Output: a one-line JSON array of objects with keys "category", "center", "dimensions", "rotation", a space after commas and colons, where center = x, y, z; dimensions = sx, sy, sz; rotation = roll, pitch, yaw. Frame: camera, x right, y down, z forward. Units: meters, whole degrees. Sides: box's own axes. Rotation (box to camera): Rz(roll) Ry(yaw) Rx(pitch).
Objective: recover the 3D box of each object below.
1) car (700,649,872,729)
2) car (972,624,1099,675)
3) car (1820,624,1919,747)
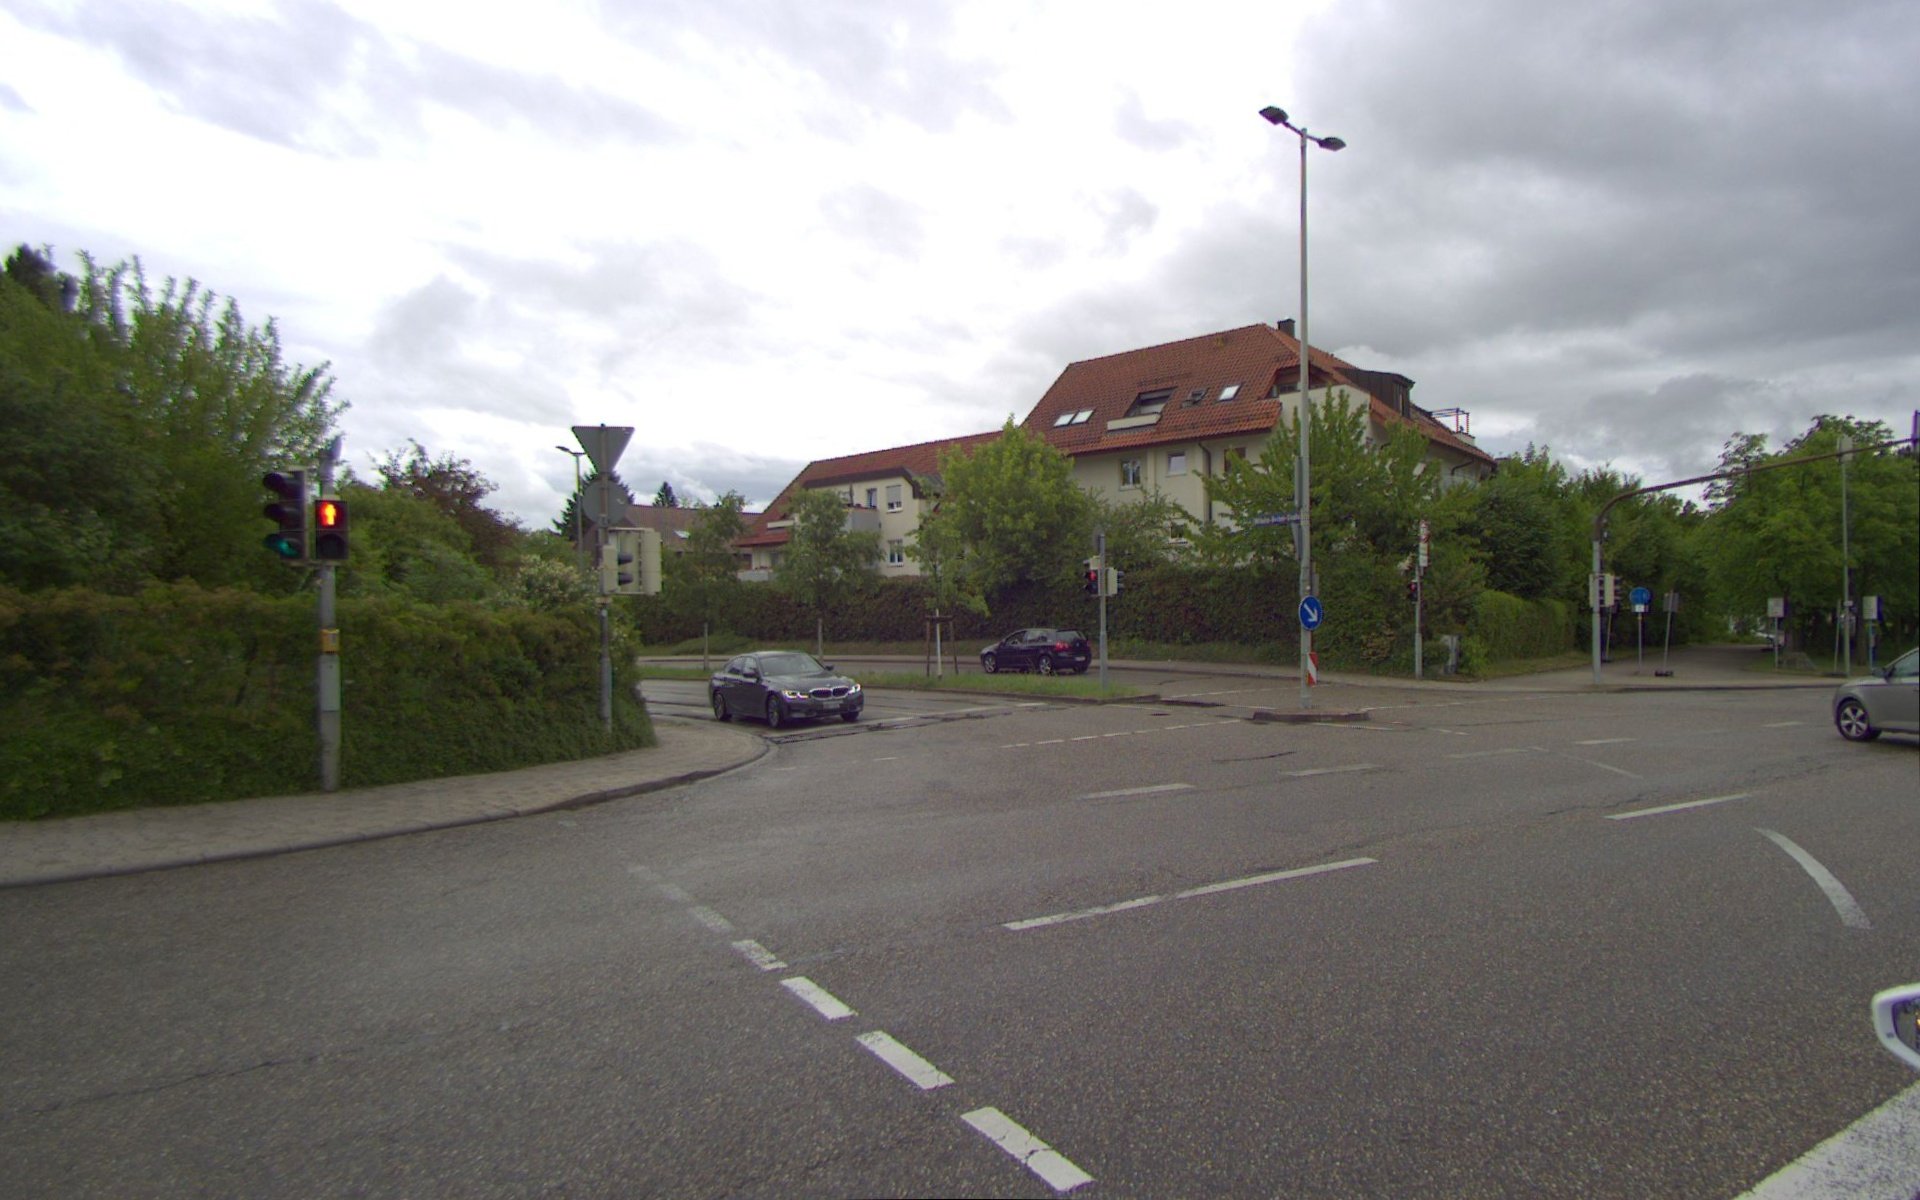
[{"category": "car", "center": [-3.738, 1.797, 20.945], "dimensions": [1.759, 1.411, 4.391], "rotation": [-1, -3, -36]}, {"category": "car", "center": [2.399, 1.559, 32.454], "dimensions": [1.754, 1.499, 3.949], "rotation": [1, -1, -43]}, {"category": "car", "center": [13.455, 1.125, 13.052], "dimensions": [1.768, 1.610, 3.929], "rotation": [0, -1, 11]}]
